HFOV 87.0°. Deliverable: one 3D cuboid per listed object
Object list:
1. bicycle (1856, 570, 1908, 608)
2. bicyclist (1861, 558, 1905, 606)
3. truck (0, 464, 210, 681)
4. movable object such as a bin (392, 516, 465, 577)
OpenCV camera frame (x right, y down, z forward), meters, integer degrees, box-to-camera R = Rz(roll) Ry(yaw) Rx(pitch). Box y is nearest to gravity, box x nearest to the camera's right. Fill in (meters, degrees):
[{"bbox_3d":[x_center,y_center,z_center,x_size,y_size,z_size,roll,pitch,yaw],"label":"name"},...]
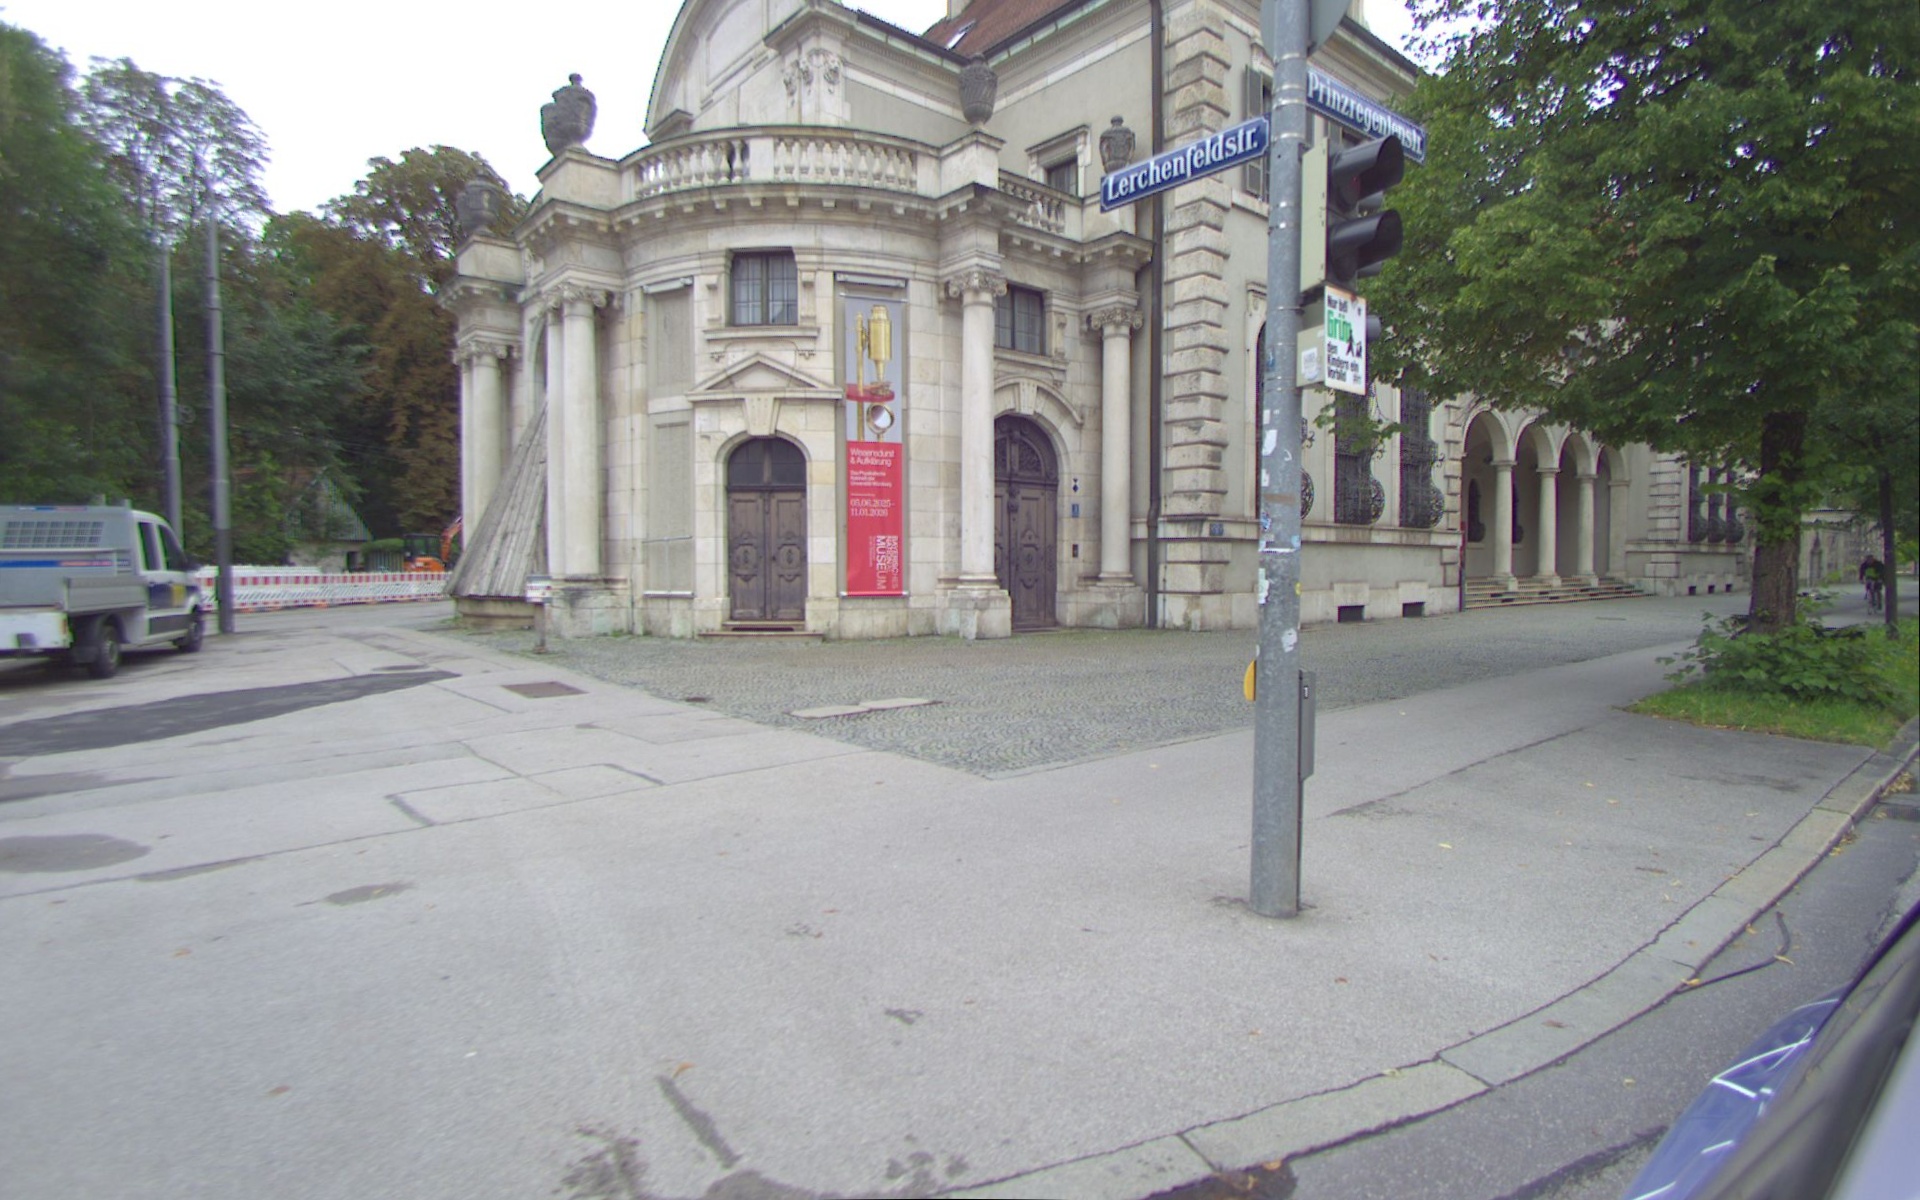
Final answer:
[{"bbox_3d":[25.913,-0.317,28.440,2.022,1.019,0.829,-2,1,-41],"label":"bicycle"},{"bbox_3d":[26.026,-0.517,28.532,0.878,1.329,0.807,-2,1,-40],"label":"bicyclist"},{"bbox_3d":[-12.804,-0.323,14.271,2.247,2.525,5.947,-2,1,-24],"label":"truck"},{"bbox_3d":[-21.955,-2.159,41.944,1.294,2.342,3.778,-1,1,-5],"label":"movable object such as a bin"}]
